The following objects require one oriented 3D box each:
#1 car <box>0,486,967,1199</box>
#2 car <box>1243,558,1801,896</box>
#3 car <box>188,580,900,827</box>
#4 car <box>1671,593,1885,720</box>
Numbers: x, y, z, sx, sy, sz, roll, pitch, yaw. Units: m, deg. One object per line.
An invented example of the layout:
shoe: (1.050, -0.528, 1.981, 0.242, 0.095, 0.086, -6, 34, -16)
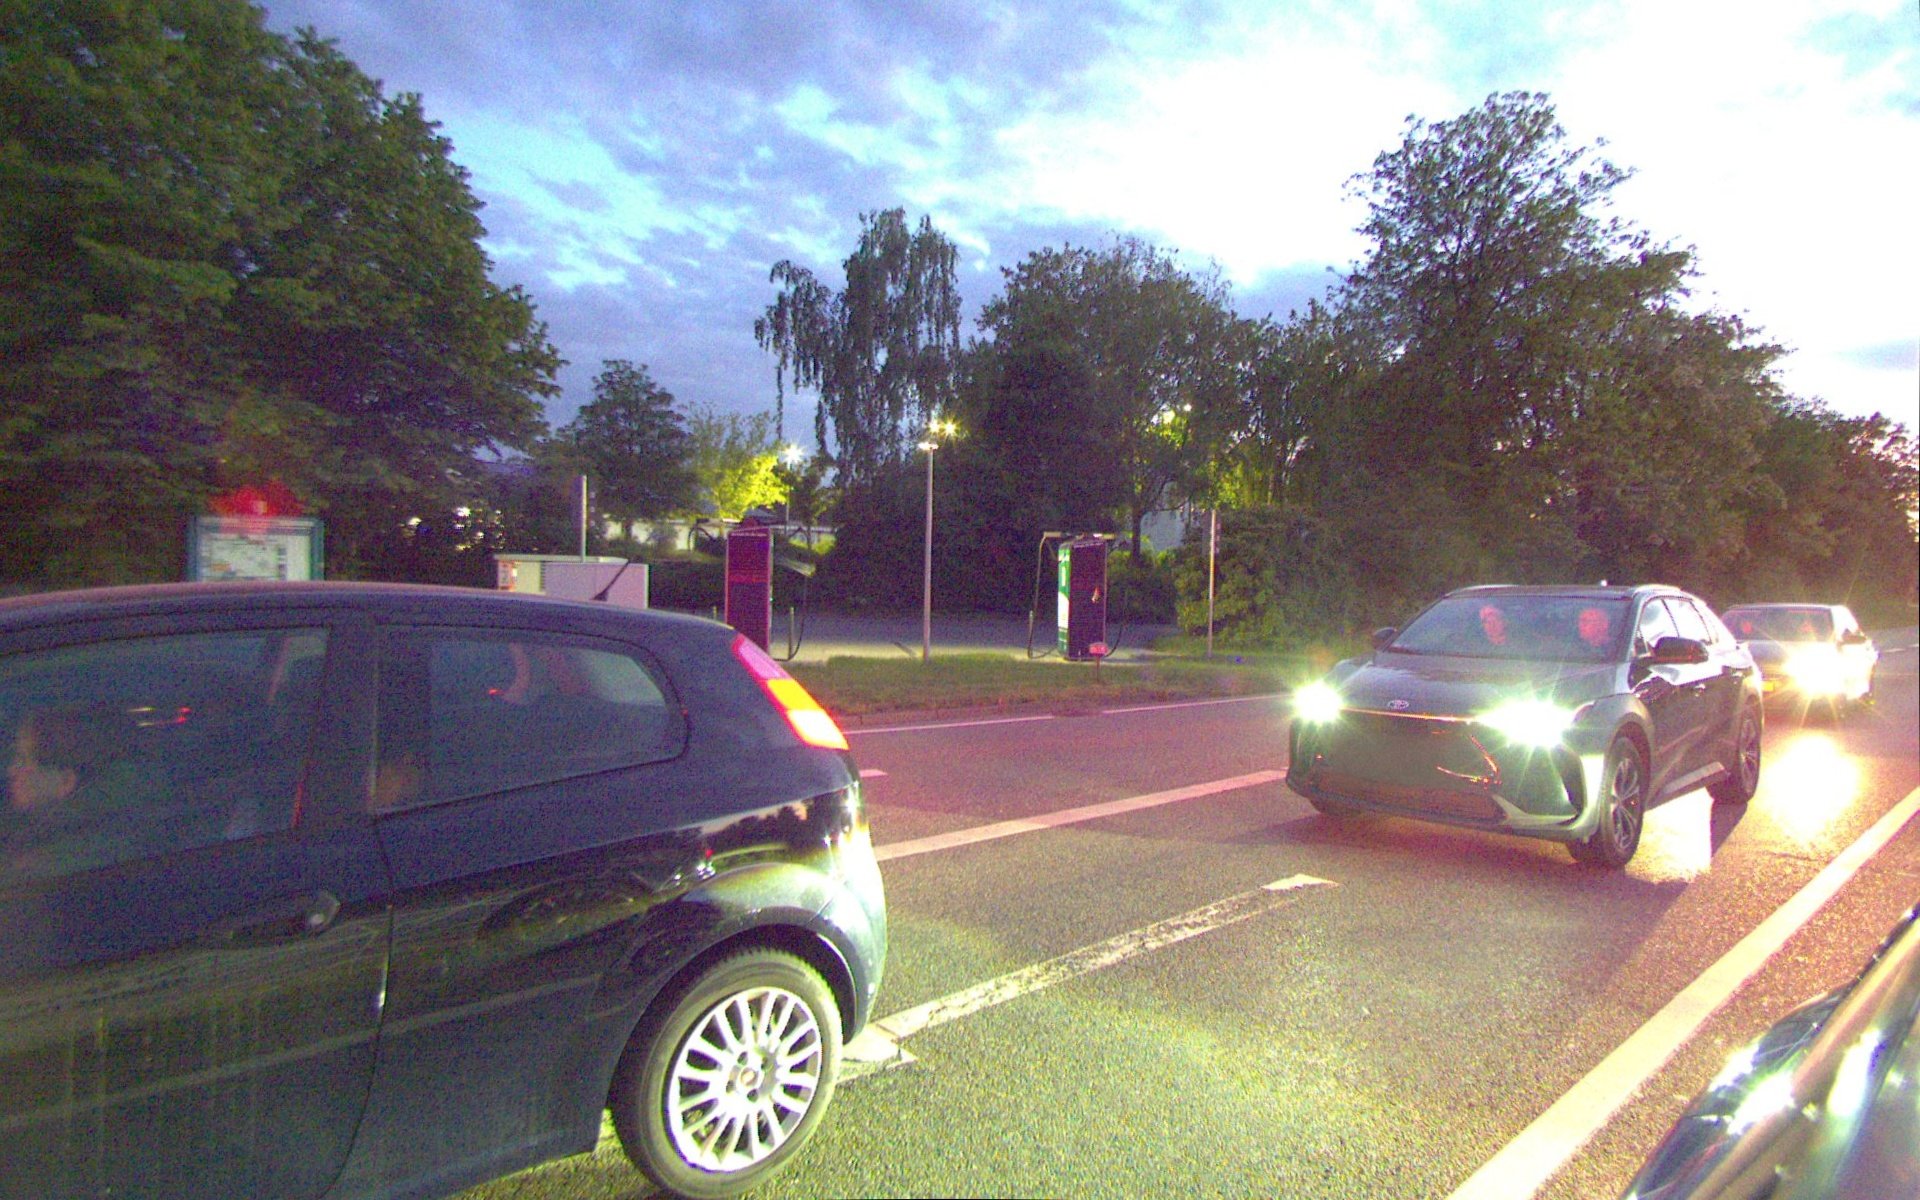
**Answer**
car: (-2.064, 0.582, 2.179, 4.032, 1.540, 1.674, 0, 1, -39)
car: (4.185, 0.600, 7.162, 4.629, 1.630, 1.997, 0, 0, -41)
car: (-2.967, 0.604, 7.901, 4.608, 1.450, 1.927, 0, 1, -29)
car: (11.178, 0.655, 13.749, 3.803, 1.487, 1.622, 0, 0, -41)
